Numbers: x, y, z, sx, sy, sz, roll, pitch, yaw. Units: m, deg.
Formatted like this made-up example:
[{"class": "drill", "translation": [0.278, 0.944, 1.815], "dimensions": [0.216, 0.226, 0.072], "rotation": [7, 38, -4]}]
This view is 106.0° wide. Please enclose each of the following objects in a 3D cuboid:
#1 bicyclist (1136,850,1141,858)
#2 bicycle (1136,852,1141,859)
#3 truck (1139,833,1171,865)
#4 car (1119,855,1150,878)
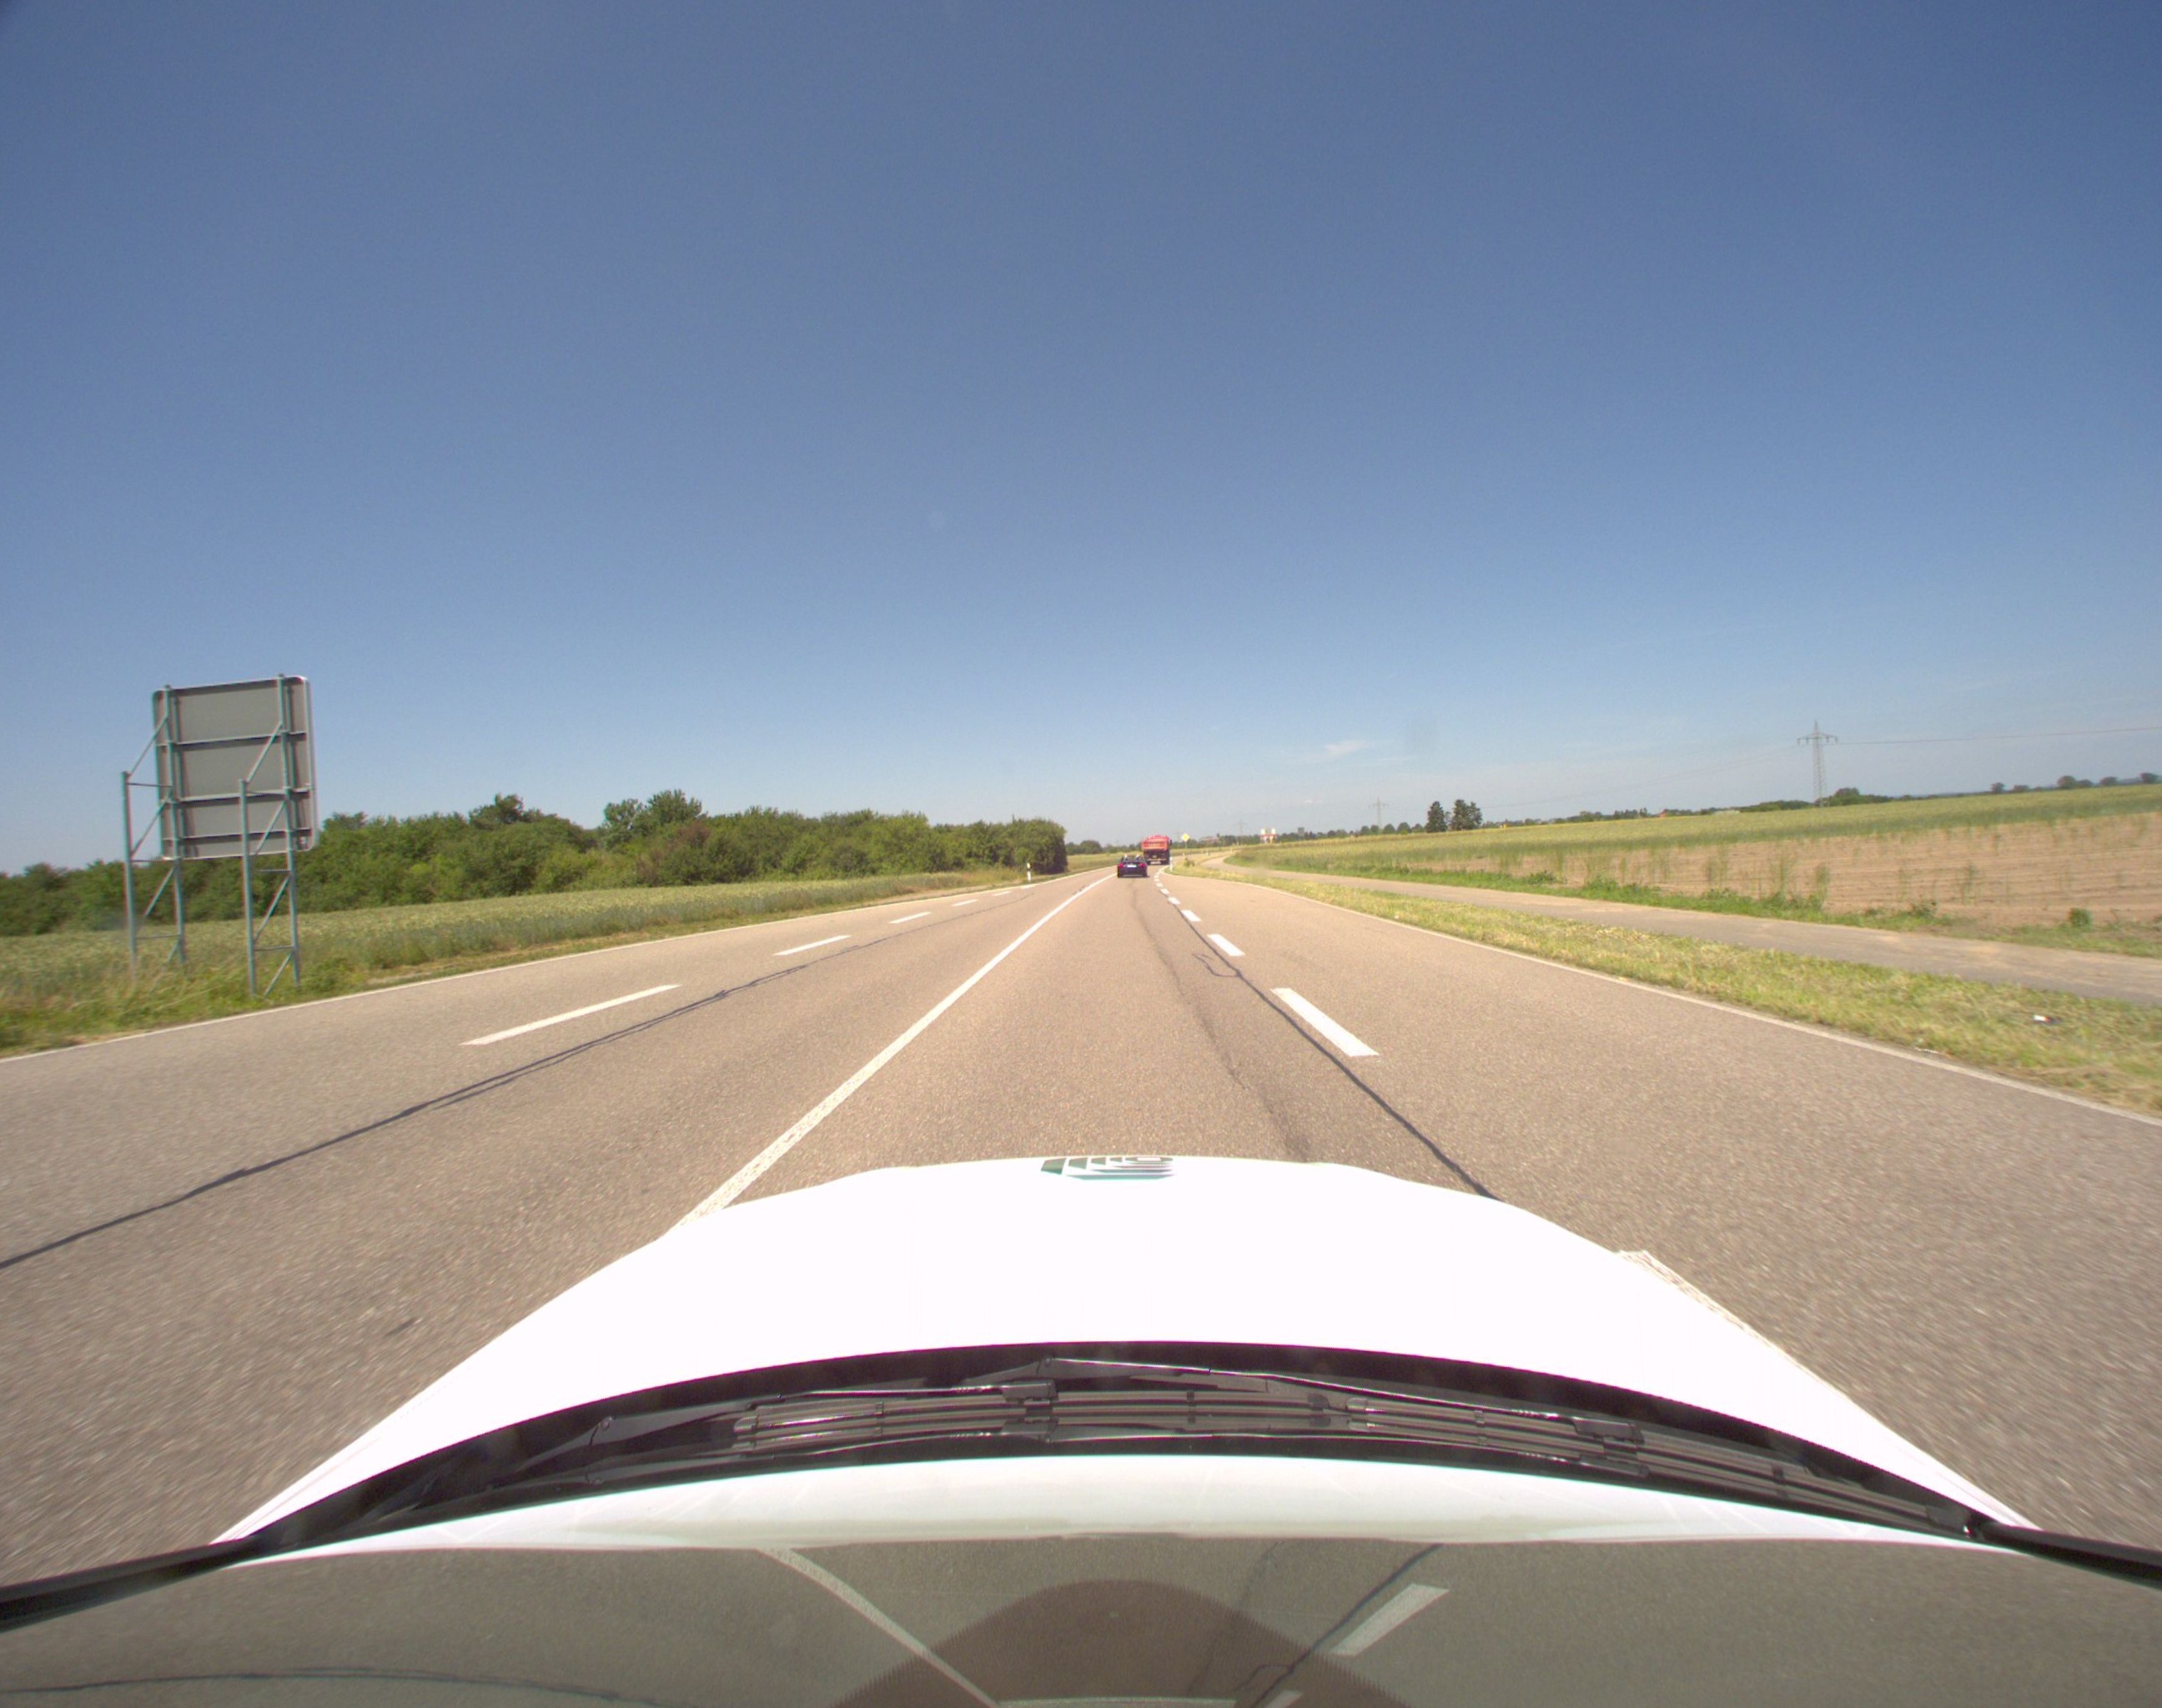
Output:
[{"class": "bicyclist", "translation": [10.457, 0.010, 147.758], "dimensions": [0.659, 1.438, 0.825], "rotation": [-2, 0, 11]}, {"class": "bicycle", "translation": [10.474, 0.324, 147.756], "dimensions": [0.690, 1.176, 1.970], "rotation": [-4, 0, 11]}, {"class": "truck", "translation": [7.827, -0.470, 85.726], "dimensions": [2.922, 3.089, 7.212], "rotation": [-2, 0, 8]}, {"class": "car", "translation": [3.256, 0.720, 48.825], "dimensions": [1.736, 1.280, 4.005], "rotation": [-2, 0, 5]}]
